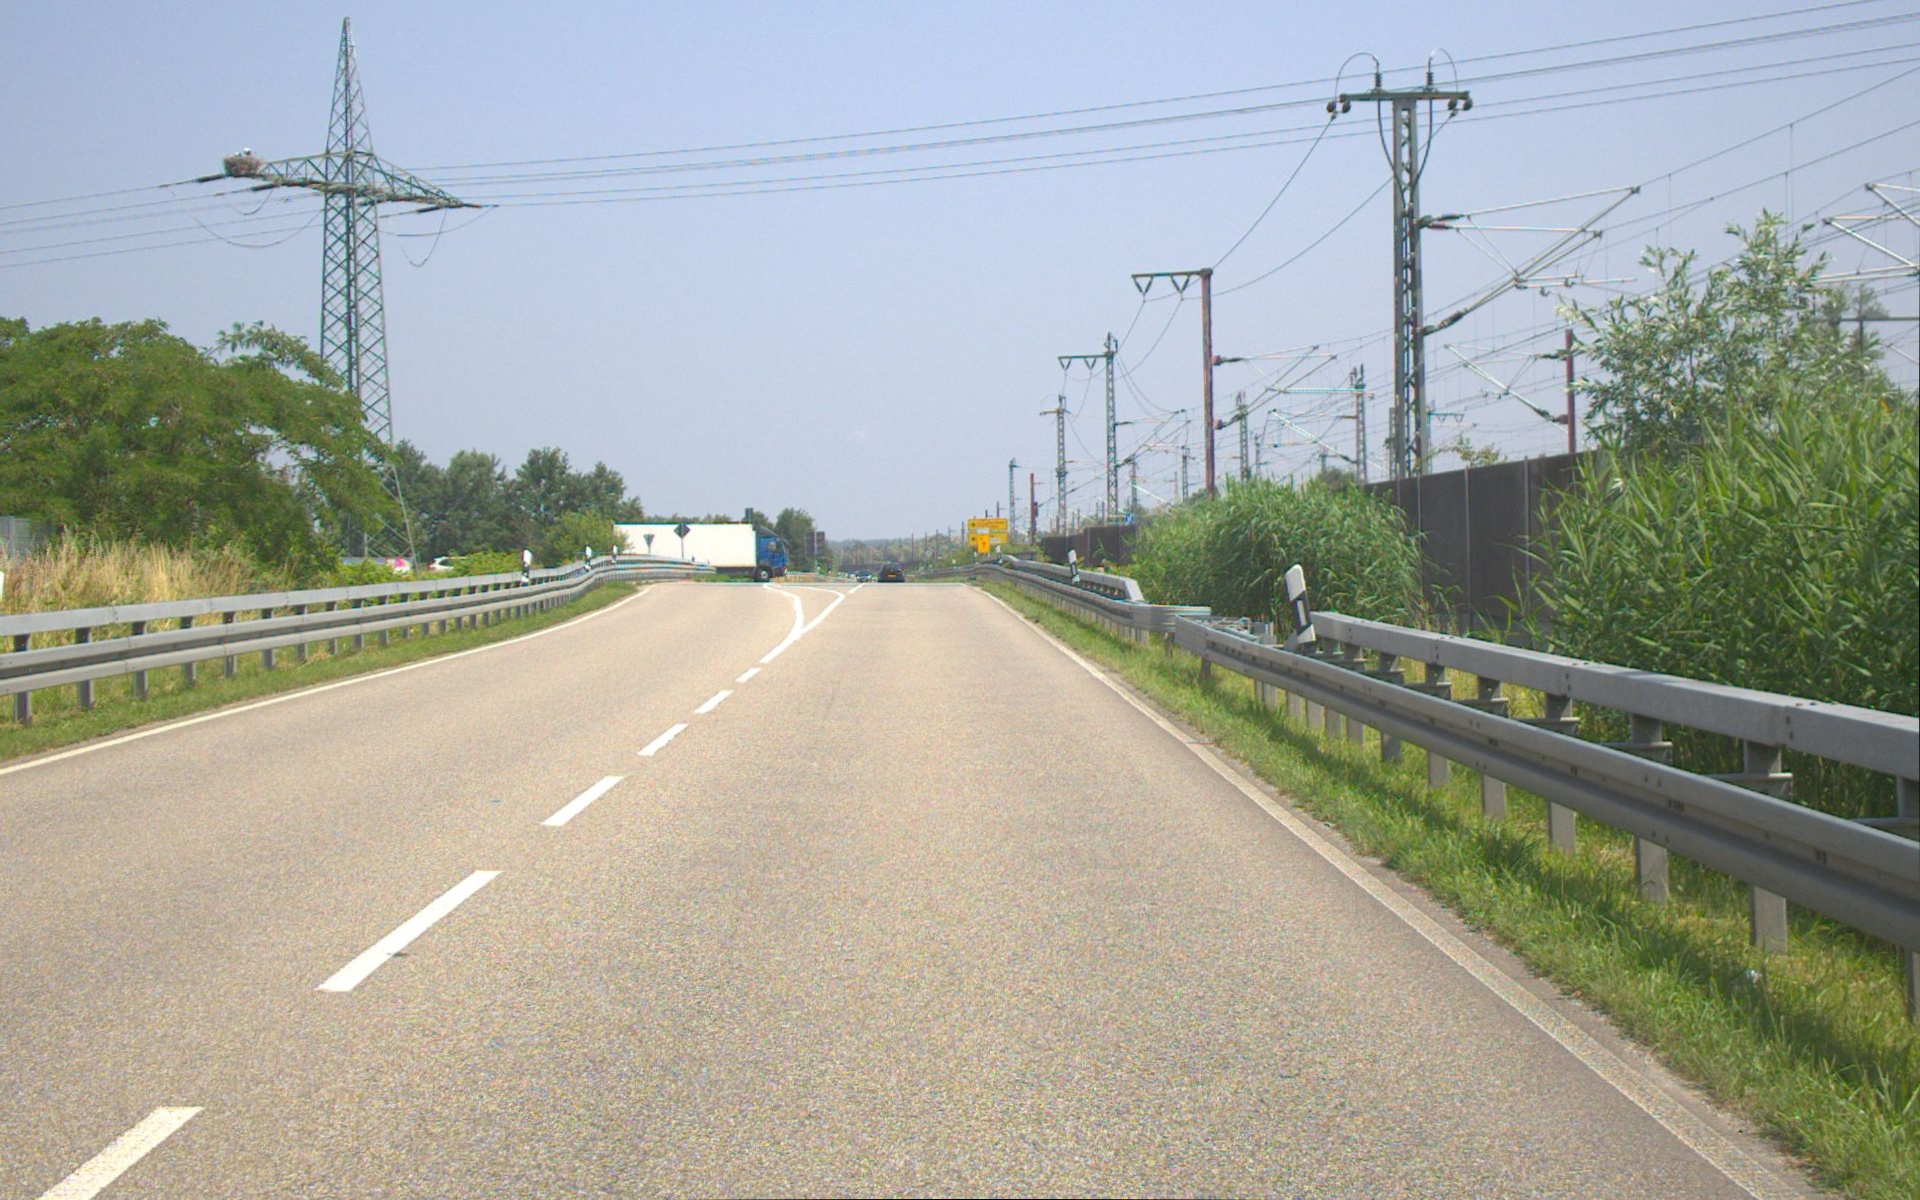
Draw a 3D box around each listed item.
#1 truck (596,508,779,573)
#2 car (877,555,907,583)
[{"bbox_3d":[-15.833,-3.435,199.477,10.410,3.619,2.846,1,1,-8],"label":"truck"},{"bbox_3d":[-5.033,-2.312,254.667,1.993,2.007,4.001,0,1,-4],"label":"car"}]
